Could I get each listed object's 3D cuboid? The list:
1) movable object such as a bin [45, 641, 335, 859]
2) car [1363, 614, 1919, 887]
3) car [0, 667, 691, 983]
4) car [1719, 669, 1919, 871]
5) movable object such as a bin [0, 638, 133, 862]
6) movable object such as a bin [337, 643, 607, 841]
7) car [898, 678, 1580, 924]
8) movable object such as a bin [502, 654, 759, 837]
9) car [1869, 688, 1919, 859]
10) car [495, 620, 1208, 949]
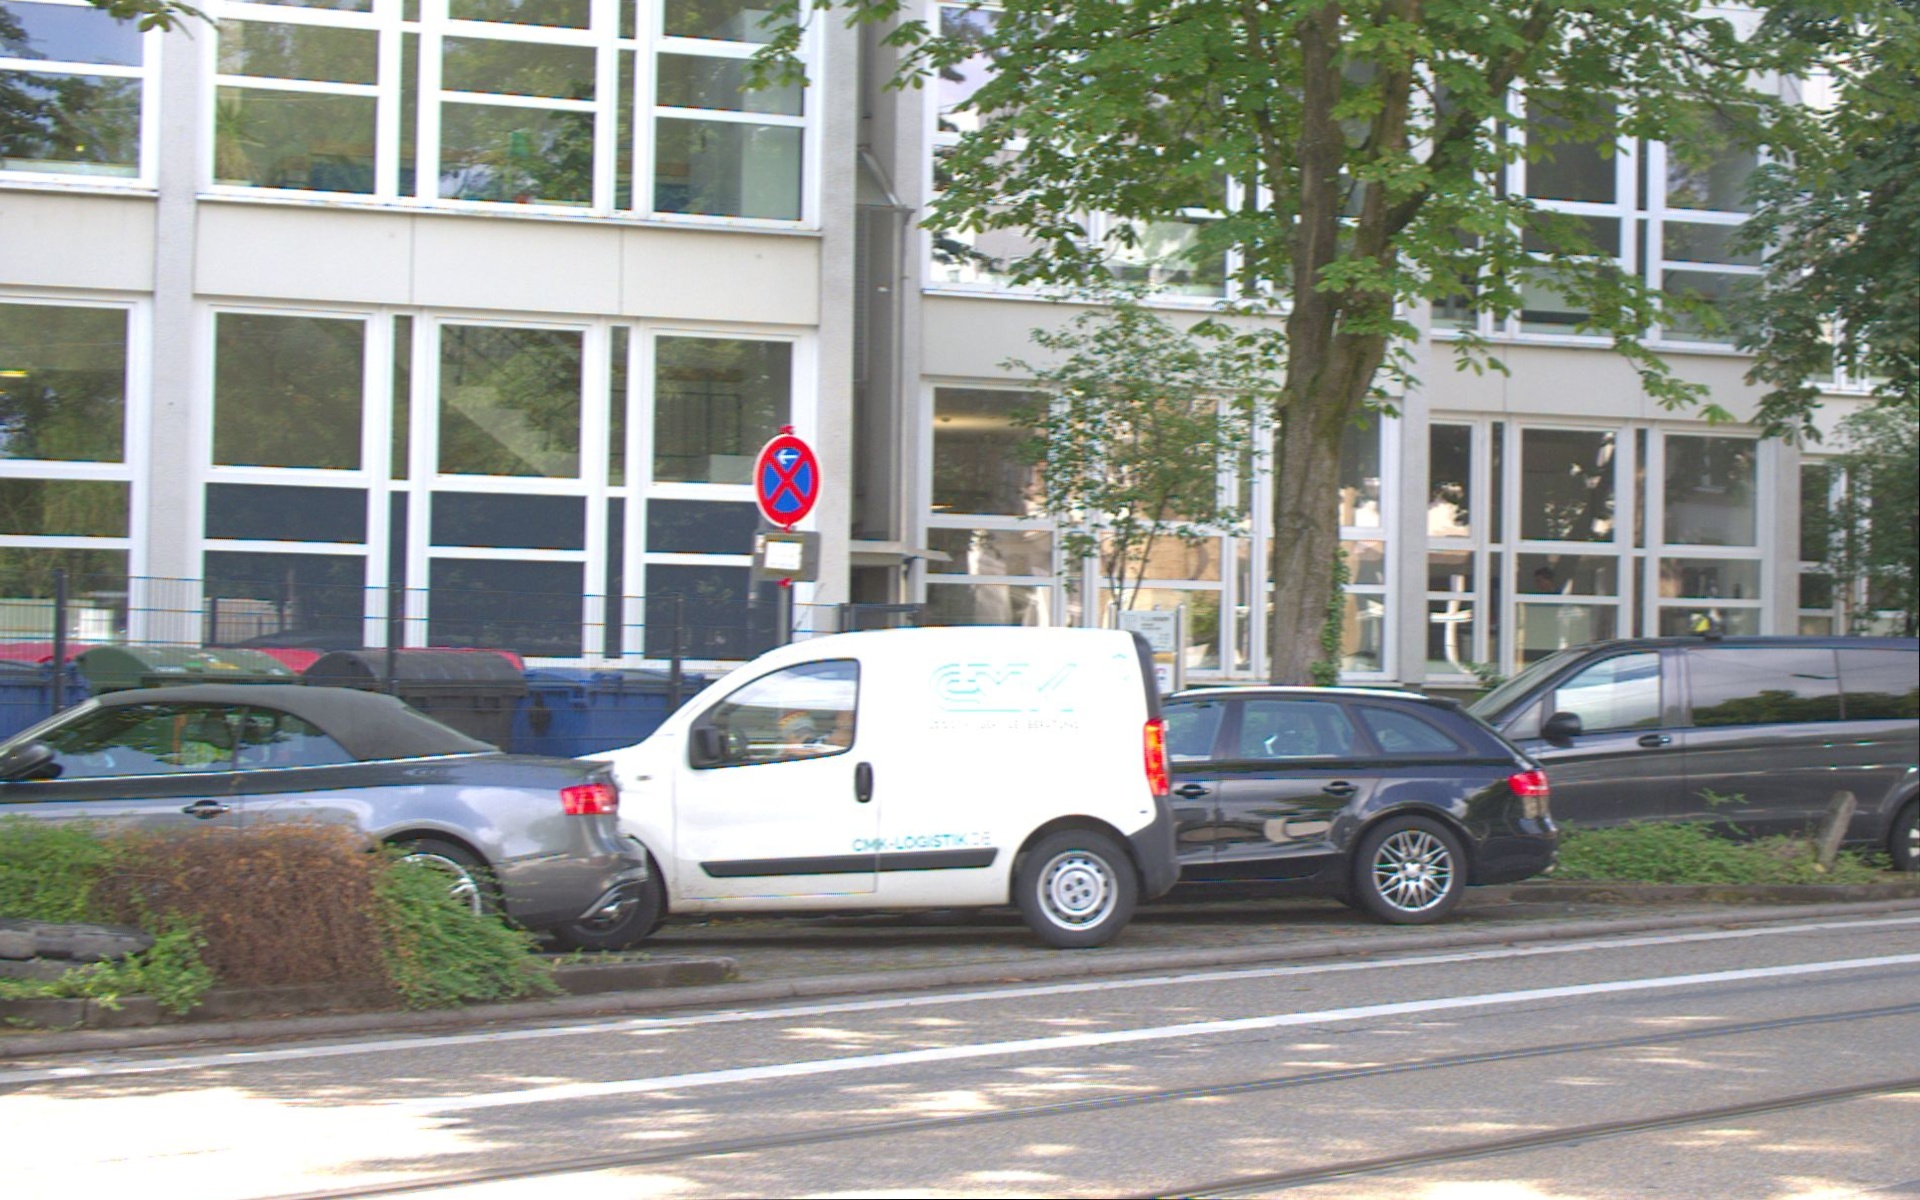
[{"bbox_3d":[-5.066,0.998,22.646,1.195,1.376,1.438,-4,-4,41],"label":"movable object such as a bin"},{"bbox_3d":[5.748,1.123,25.853,5.151,1.948,1.916,0,-2,-1],"label":"car"},{"bbox_3d":[-3.331,1.059,16.548,3.986,1.413,1.722,0,-2,-7],"label":"car"},{"bbox_3d":[8.404,1.374,28.115,3.987,1.587,1.741,0,-2,0],"label":"car"},{"bbox_3d":[-6.222,0.946,21.468,1.390,1.359,1.535,-4,-4,40],"label":"movable object such as a bin"},{"bbox_3d":[-3.388,0.996,23.884,1.166,1.323,1.438,-4,-4,43],"label":"movable object such as a bin"},{"bbox_3d":[1.624,1.214,21.060,3.986,1.413,1.760,0,-2,-1],"label":"car"},{"bbox_3d":[-2.389,1.066,24.937,1.170,1.279,1.438,-4,-4,43],"label":"movable object such as a bin"},{"bbox_3d":[10.271,1.515,30.444,3.987,1.479,1.740,0,-2,2],"label":"car"},{"bbox_3d":[-0.558,0.995,18.780,3.703,1.687,1.760,0,-2,1],"label":"car"}]
